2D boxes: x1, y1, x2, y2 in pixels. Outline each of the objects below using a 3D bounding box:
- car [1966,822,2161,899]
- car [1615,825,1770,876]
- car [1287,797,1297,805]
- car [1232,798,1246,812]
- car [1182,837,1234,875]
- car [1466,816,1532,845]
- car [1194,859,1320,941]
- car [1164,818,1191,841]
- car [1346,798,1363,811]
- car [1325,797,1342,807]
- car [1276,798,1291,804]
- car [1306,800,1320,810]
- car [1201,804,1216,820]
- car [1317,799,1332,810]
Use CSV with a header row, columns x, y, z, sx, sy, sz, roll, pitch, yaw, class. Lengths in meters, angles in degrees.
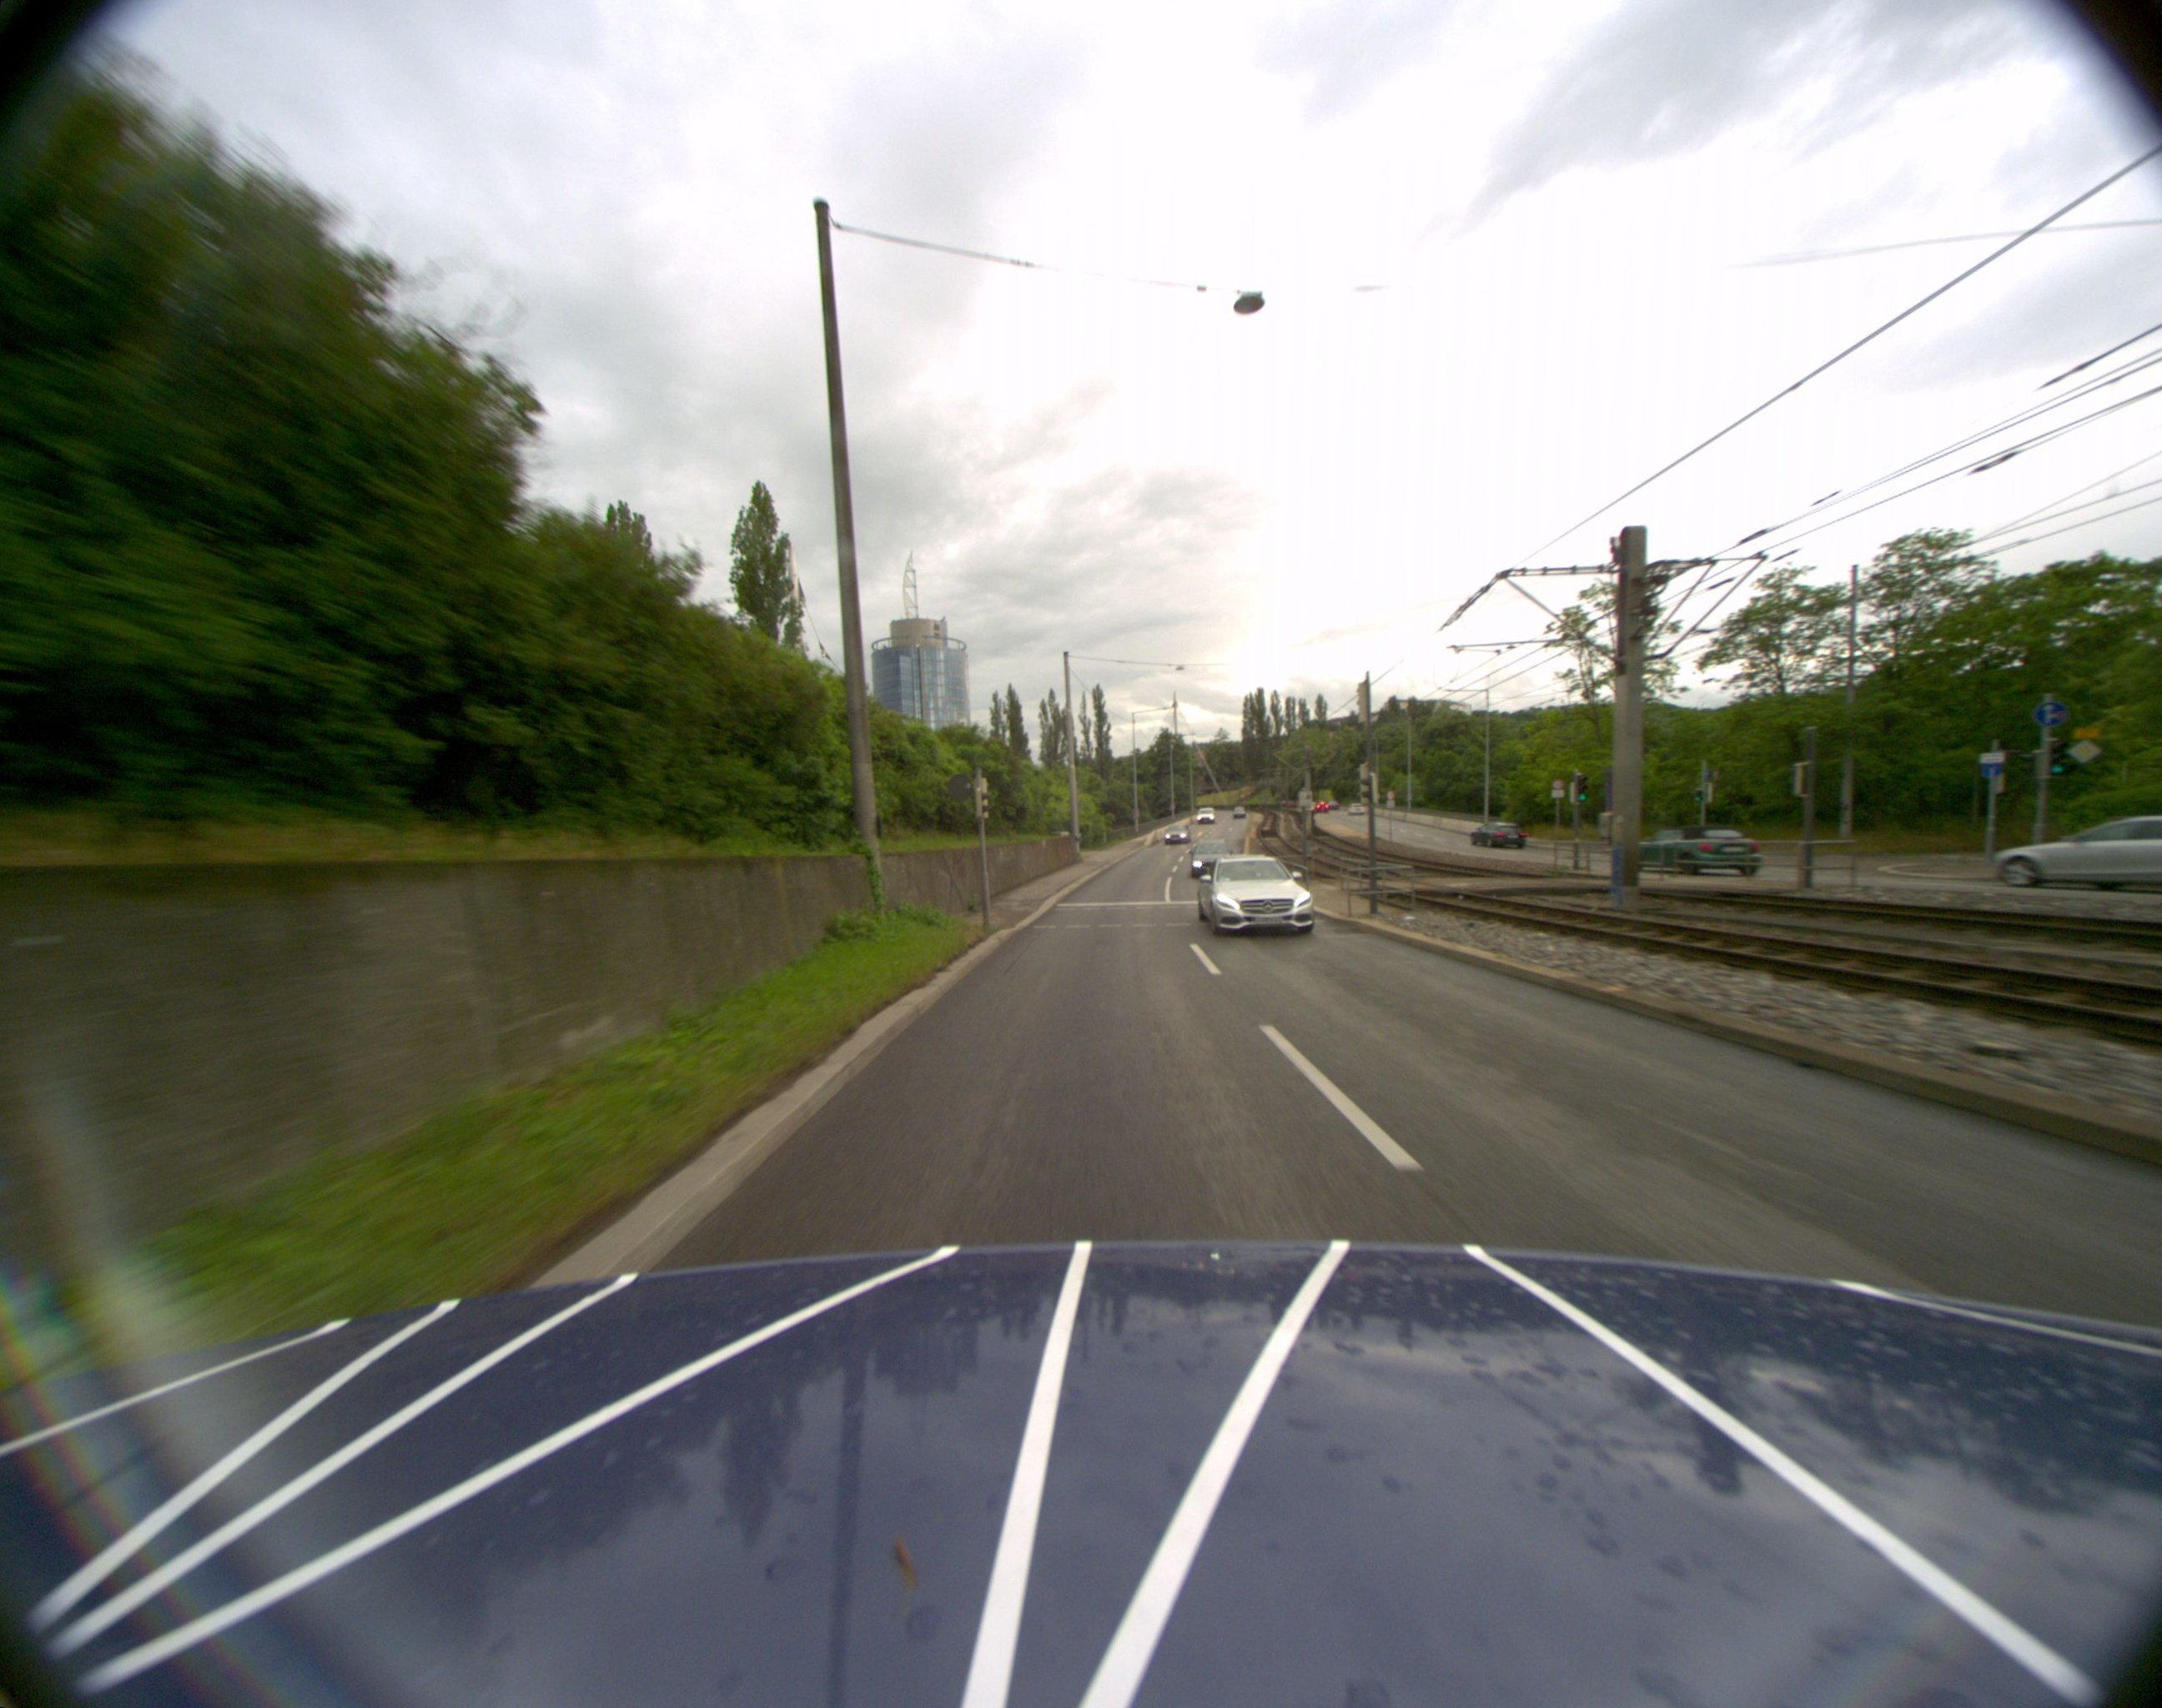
x,y,z,sx,sy,sz,roll,pitch,yaw,class
20.120,0.083,14.207,1.823,1.372,4.706,-1,1,4,car
17.983,-0.138,22.584,1.636,1.377,3.894,0,2,4,car
42.198,-10.600,152.064,1.603,1.486,3.016,-1,6,8,car
22.424,-6.946,107.984,1.767,1.806,4.001,-3,2,9,car
5.360,0.035,32.524,1.735,1.345,3.998,-3,3,3,car
23.994,-1.375,43.812,1.720,1.451,4.273,-2,4,4,car
3.360,0.818,15.268,1.871,1.348,4.061,-2,0,5,car
7.347,-1.900,57.551,1.766,1.493,4.000,-2,4,11,car
36.893,-6.656,102.519,1.823,1.507,4.530,-1,5,15,car
43.144,-8.883,129.797,1.972,1.589,5.184,-1,4,10,car
45.573,-11.933,171.054,1.821,1.429,4.735,-3,4,-3,car
39.530,-8.356,129.396,1.733,1.430,4.491,-1,6,10,car
15.596,-5.085,93.064,1.767,1.807,4.001,-3,2,9,car
37.237,-7.536,116.353,1.850,1.589,4.733,0,4,14,car
